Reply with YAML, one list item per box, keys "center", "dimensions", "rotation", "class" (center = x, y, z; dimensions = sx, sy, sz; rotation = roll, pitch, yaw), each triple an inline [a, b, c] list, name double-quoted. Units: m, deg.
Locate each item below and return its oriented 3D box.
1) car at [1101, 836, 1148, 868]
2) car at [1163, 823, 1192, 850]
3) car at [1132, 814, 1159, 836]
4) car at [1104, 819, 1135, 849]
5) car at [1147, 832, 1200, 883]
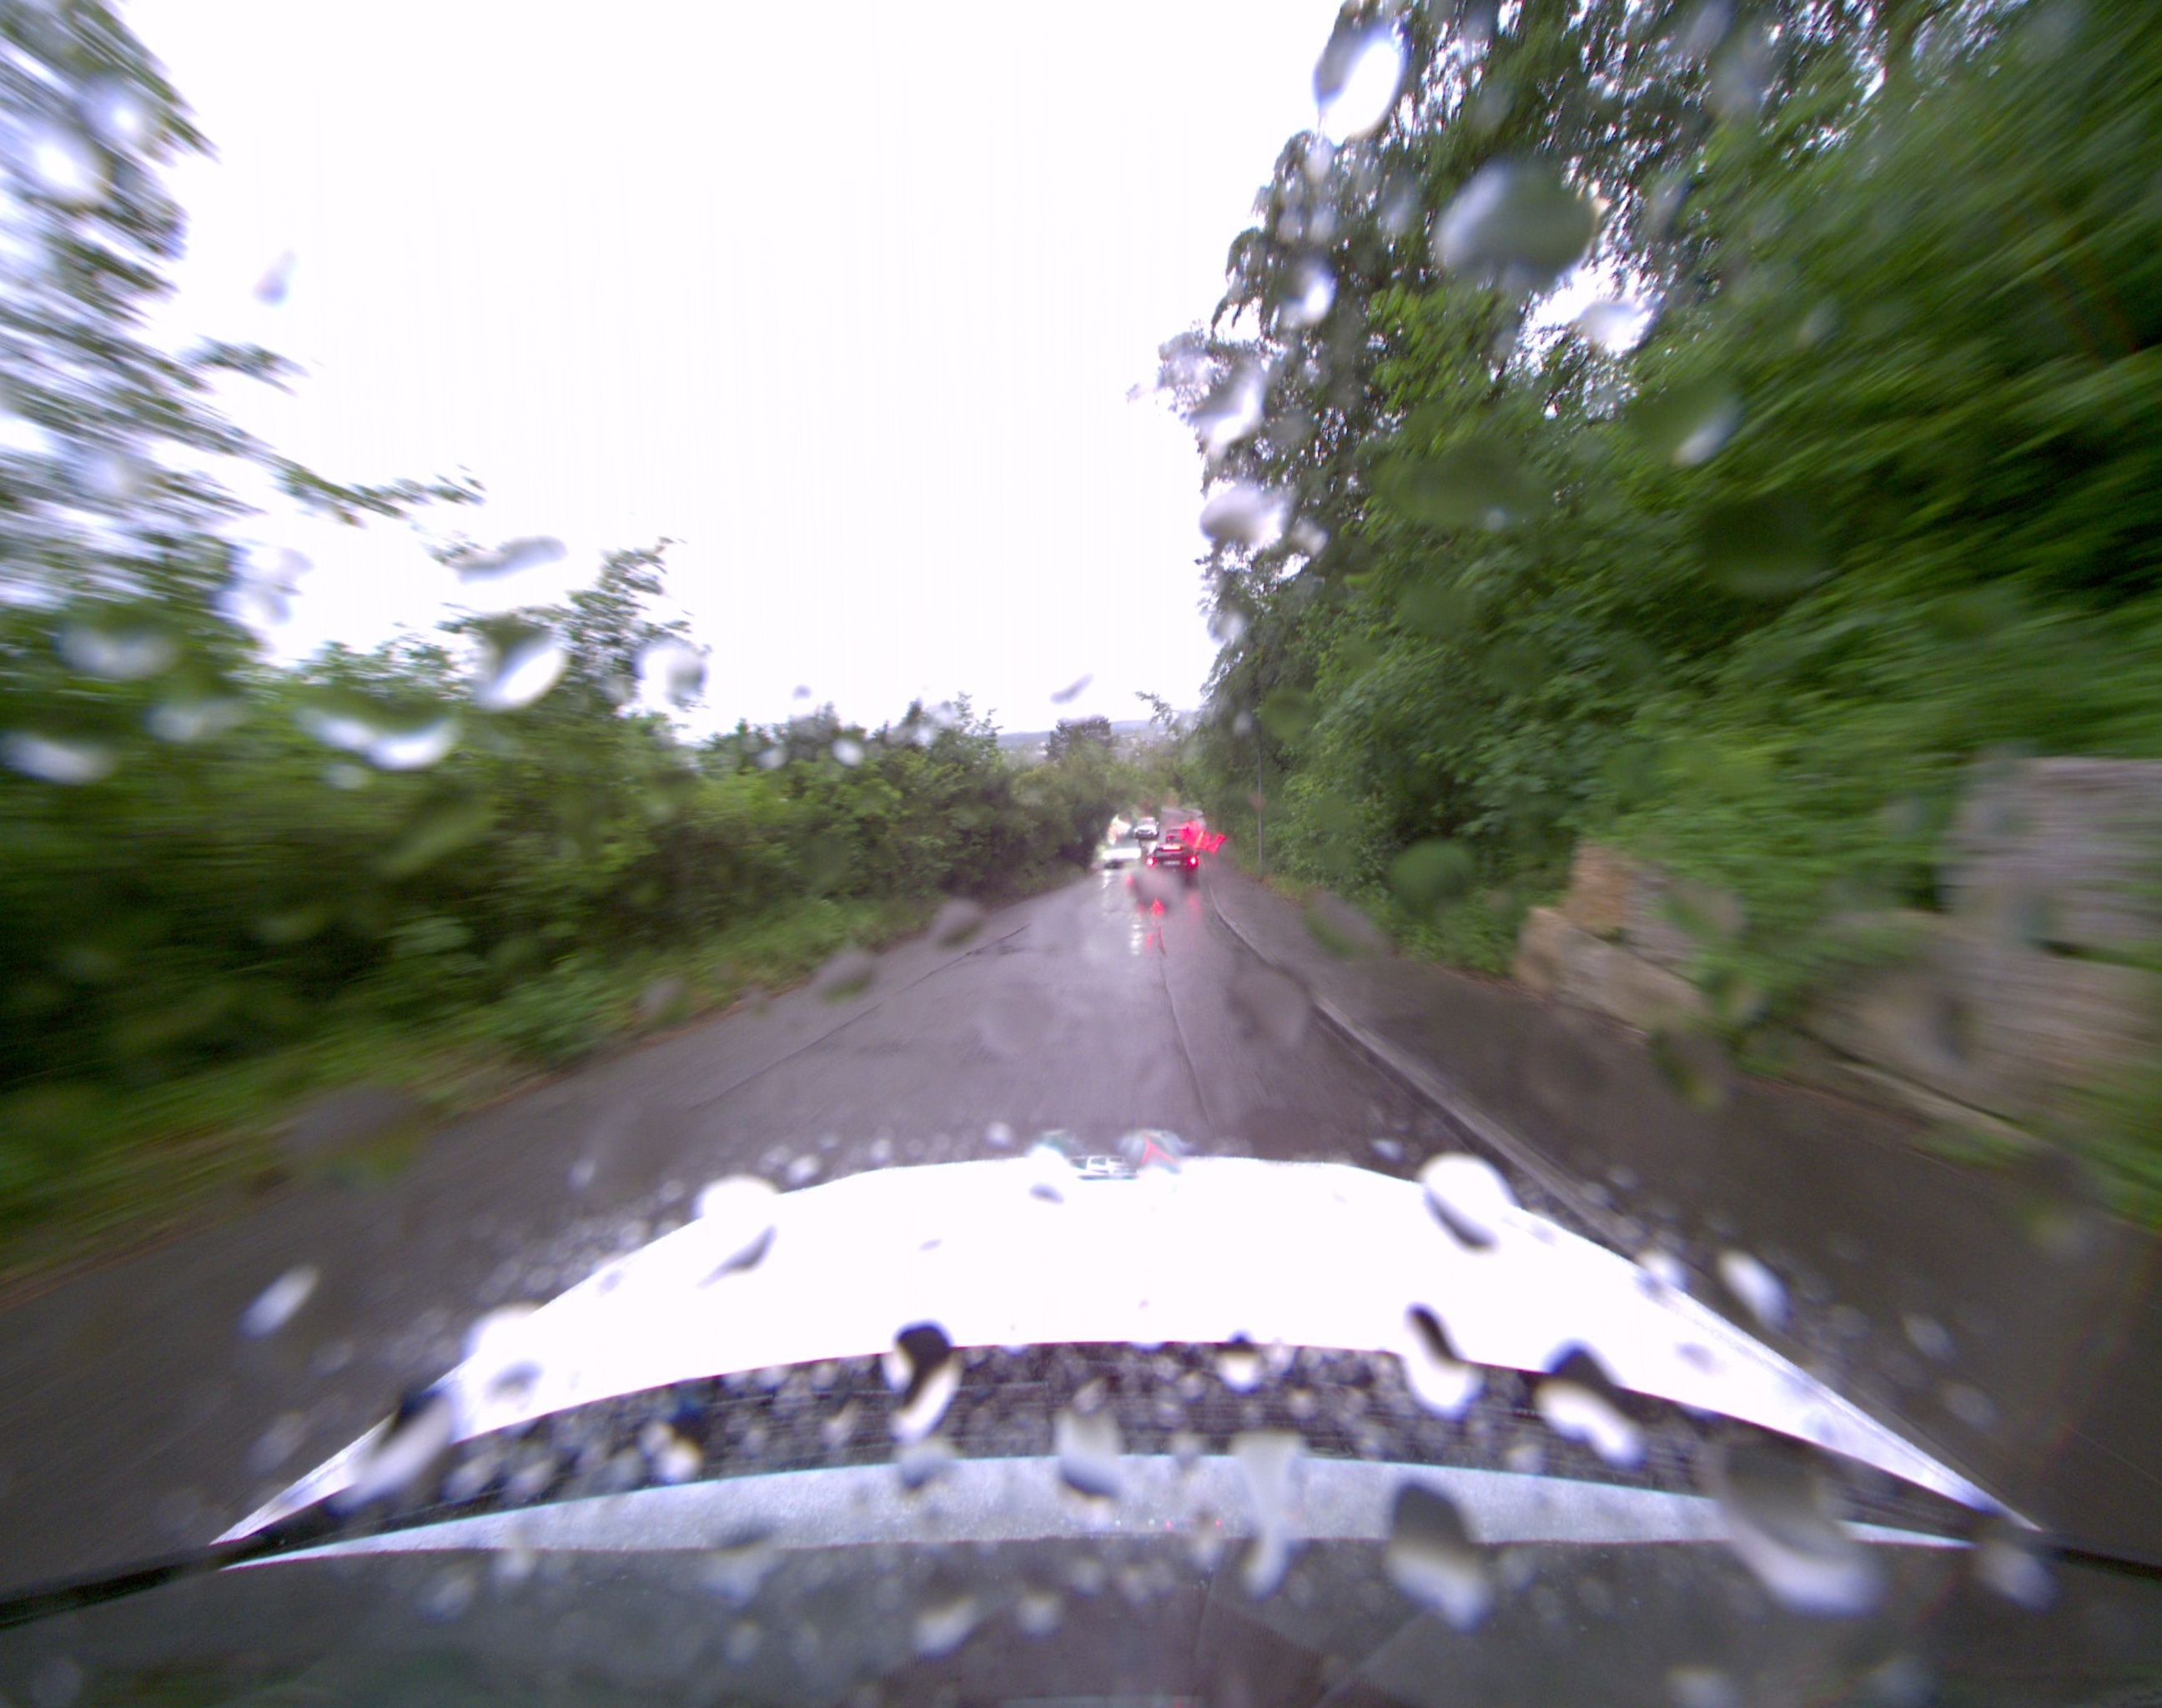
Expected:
- center: [2.342, -0.091, 42.770]
  dimensions: [1.929, 1.522, 4.591]
  rotation: [-1, 0, 10]
  class: "car"
- center: [6.605, -1.153, 55.690]
  dimensions: [1.853, 1.743, 4.008]
  rotation: [-1, 0, 7]
  class: "car"
- center: [5.315, -2.379, 66.520]
  dimensions: [2.037, 1.600, 4.240]
  rotation: [0, 5, 7]
  class: "car"
- center: [2.747, -1.445, 56.742]
  dimensions: [1.680, 1.782, 4.244]
  rotation: [-2, 4, 8]
  class: "car"
- center: [3.245, 0.070, 29.102]
  dimensions: [1.692, 1.449, 4.007]
  rotation: [-2, 4, 4]
  class: "car"
